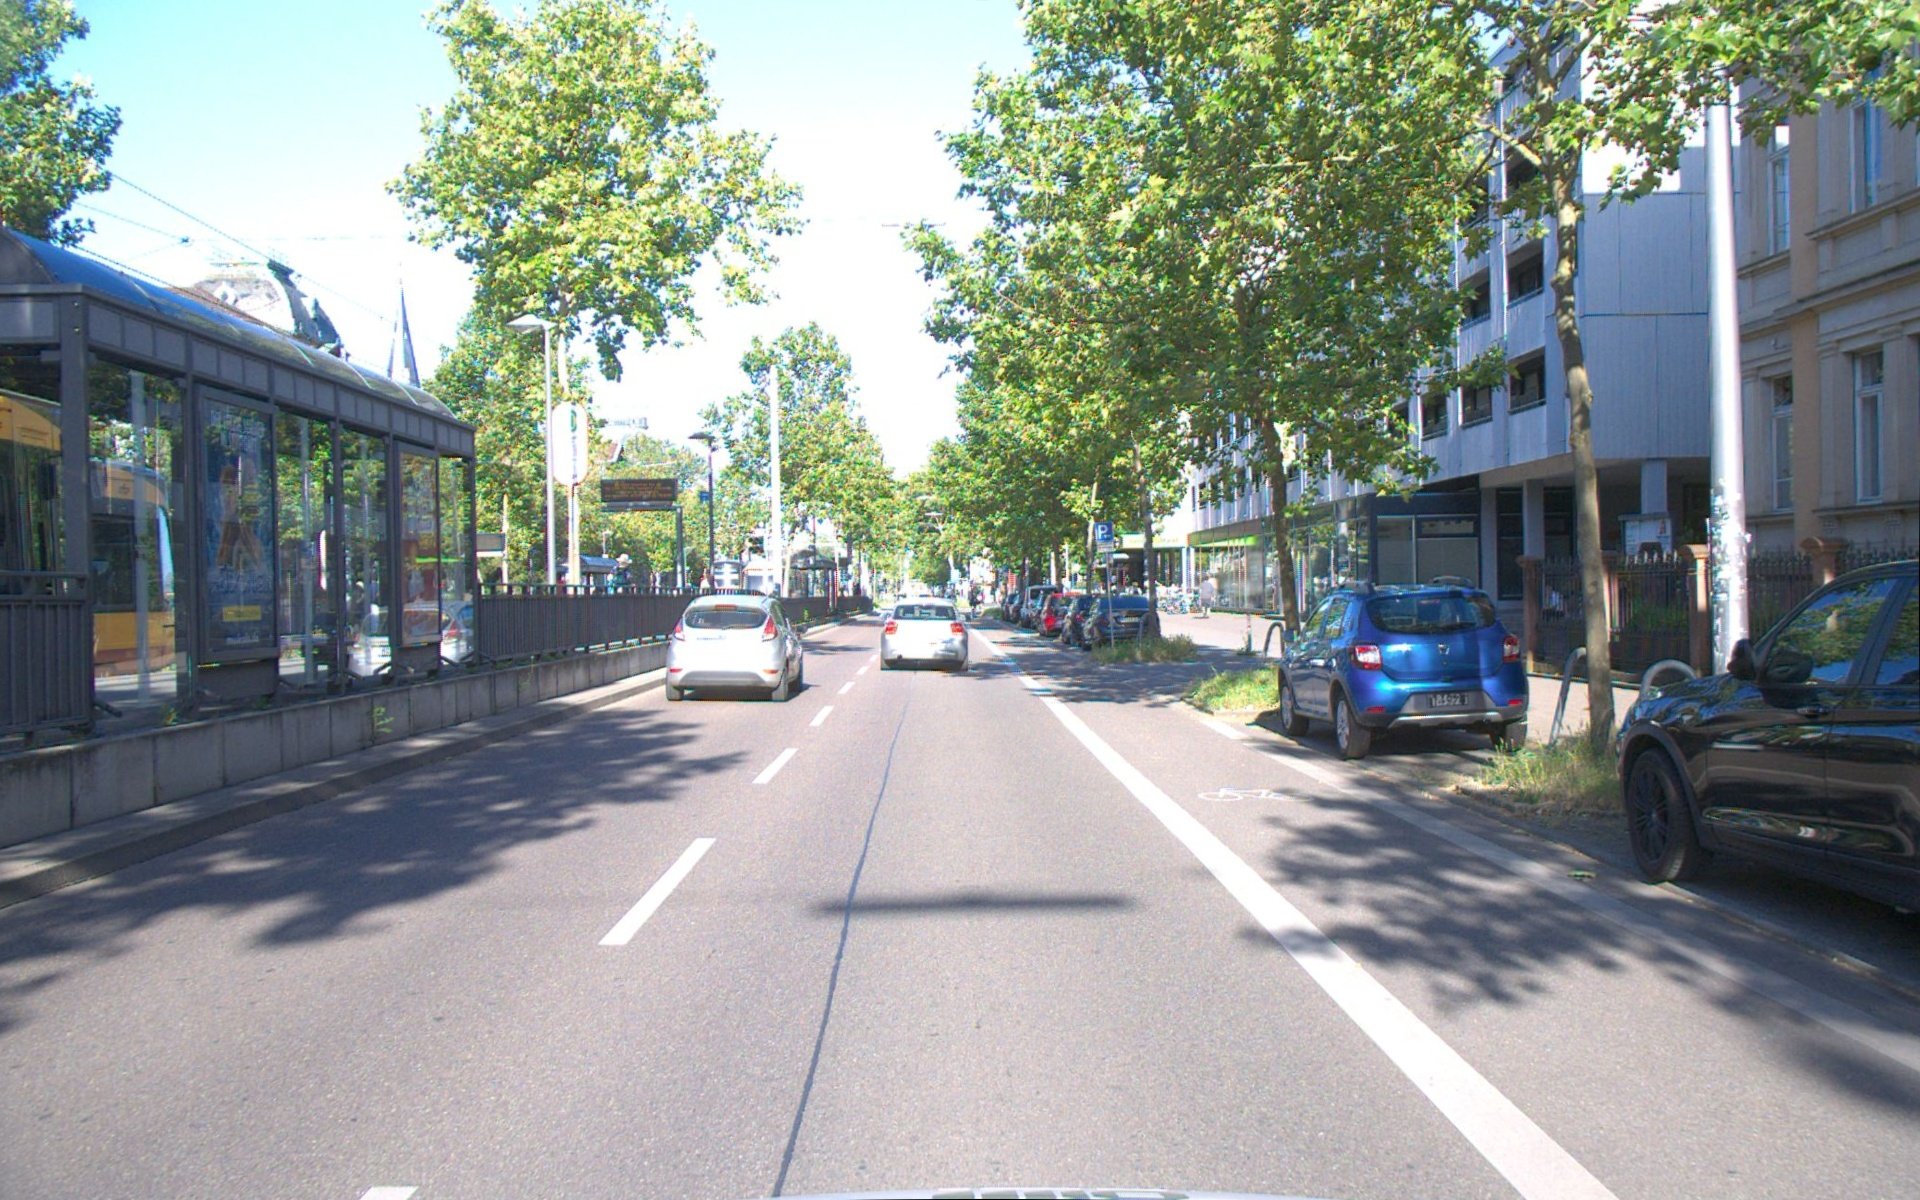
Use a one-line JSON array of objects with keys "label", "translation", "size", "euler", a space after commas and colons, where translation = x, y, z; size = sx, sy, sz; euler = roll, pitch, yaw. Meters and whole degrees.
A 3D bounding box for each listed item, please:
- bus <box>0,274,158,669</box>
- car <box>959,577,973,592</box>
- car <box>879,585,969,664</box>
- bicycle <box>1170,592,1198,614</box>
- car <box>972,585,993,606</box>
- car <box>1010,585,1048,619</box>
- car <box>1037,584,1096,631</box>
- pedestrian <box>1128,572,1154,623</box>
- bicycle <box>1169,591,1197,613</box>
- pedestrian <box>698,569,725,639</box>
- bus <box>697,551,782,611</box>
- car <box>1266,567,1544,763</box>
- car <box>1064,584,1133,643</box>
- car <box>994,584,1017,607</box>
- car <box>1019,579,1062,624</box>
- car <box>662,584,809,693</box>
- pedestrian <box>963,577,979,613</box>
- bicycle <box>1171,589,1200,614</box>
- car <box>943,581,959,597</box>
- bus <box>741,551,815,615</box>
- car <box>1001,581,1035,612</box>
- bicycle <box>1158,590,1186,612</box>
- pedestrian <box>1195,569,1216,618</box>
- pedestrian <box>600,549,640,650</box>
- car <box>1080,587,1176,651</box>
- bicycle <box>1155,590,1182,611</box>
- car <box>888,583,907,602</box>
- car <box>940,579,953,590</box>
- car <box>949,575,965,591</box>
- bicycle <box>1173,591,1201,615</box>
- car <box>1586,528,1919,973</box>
[{"label": "bus", "translation": [-9.899, -1.080, 11.730], "size": [2.810, 3.504, 11.610], "euler": [-1, 1, 0]}, {"label": "car", "translation": [0.877, -2.187, 230.416], "size": [1.837, 2.048, 3.711], "euler": [1, 1, -1]}, {"label": "car", "translation": [-0.742, 0.462, 33.874], "size": [1.726, 1.457, 3.999], "euler": [1, 1, -2]}, {"label": "bicycle", "translation": [11.083, 0.130, 81.822], "size": [1.355, 1.074, 0.243], "euler": [1, 1, -2]}, {"label": "car", "translation": [2.253, -0.502, 167.174], "size": [1.953, 2.048, 4.000], "euler": [1, 1, -1]}, {"label": "car", "translation": [3.439, 0.084, 82.902], "size": [1.676, 1.590, 4.000], "euler": [1, 1, -1]}, {"label": "car", "translation": [3.721, 0.249, 58.231], "size": [1.769, 1.547, 3.999], "euler": [1, 0, -1]}, {"label": "pedestrian", "translation": [7.241, -0.104, 66.144], "size": [0.944, 2.049, 0.938], "euler": [0, 0, -1]}, {"label": "bicycle", "translation": [11.069, 0.107, 82.139], "size": [1.355, 1.077, 0.243], "euler": [1, 1, -2]}, {"label": "pedestrian", "translation": [-7.232, 0.108, 48.160], "size": [0.626, 1.988, 0.813], "euler": [1, 1, -1]}, {"label": "bus", "translation": [-14.914, -1.381, 114.309], "size": [2.810, 3.691, 24.602], "euler": [-1, 1, 0]}, {"label": "car", "translation": [4.342, 0.538, 16.758], "size": [1.657, 1.687, 4.039], "euler": [-1, 1, -1]}, {"label": "car", "translation": [4.002, 0.351, 48.208], "size": [1.635, 1.578, 4.000], "euler": [1, 1, -1]}, {"label": "car", "translation": [3.826, -0.377, 138.707], "size": [1.772, 1.822, 3.911], "euler": [1, 1, -1]}, {"label": "car", "translation": [3.568, 0.034, 73.736], "size": [1.689, 1.913, 4.000], "euler": [1, 0, -1]}, {"label": "car", "translation": [-3.166, 0.501, 23.938], "size": [1.613, 1.386, 3.760], "euler": [1, 1, 0]}, {"label": "pedestrian", "translation": [0.647, -0.277, 94.632], "size": [0.820, 2.048, 0.649], "euler": [1, 1, 6]}, {"label": "bicycle", "translation": [11.117, 0.071, 81.495], "size": [1.355, 1.168, 0.243], "euler": [1, 1, -2]}, {"label": "car", "translation": [-1.183, -1.461, 219.264], "size": [2.029, 2.049, 4.000], "euler": [0, 0, -1]}, {"label": "bus", "translation": [-11.286, -1.124, 104.597], "size": [2.694, 3.689, 18.846], "euler": [-1, 1, 0]}, {"label": "car", "translation": [3.149, -0.197, 89.969], "size": [1.666, 1.561, 3.716], "euler": [1, 1, -1]}, {"label": "bicycle", "translation": [10.813, 0.044, 84.292], "size": [1.355, 1.117, 0.243], "euler": [1, 1, -2]}, {"label": "pedestrian", "translation": [10.415, -0.264, 70.135], "size": [0.772, 2.049, 0.891], "euler": [0, 0, 0]}, {"label": "pedestrian", "translation": [-6.858, -0.017, 33.398], "size": [0.626, 1.988, 0.813], "euler": [1, 1, -1]}, {"label": "car", "translation": [4.263, 0.476, 42.660], "size": [1.953, 1.535, 4.597], "euler": [1, 0, -1]}, {"label": "bicycle", "translation": [10.689, 0.032, 84.748], "size": [1.355, 1.030, 0.243], "euler": [1, 1, -2]}, {"label": "car", "translation": [-6.912, -0.835, 183.169], "size": [1.953, 2.048, 4.000], "euler": [1, 1, -1]}, {"label": "car", "translation": [-2.058, -2.431, 256.276], "size": [1.953, 1.728, 4.000], "euler": [0, 0, -1]}, {"label": "car", "translation": [-0.390, -2.118, 207.235], "size": [1.953, 2.049, 3.999], "euler": [-1, 0, -1]}, {"label": "bicycle", "translation": [11.134, 0.140, 81.155], "size": [1.355, 1.168, 0.243], "euler": [1, 1, -2]}, {"label": "car", "translation": [4.594, 0.575, 7.356], "size": [1.761, 1.730, 4.736], "euler": [0, 0, -1]}]
